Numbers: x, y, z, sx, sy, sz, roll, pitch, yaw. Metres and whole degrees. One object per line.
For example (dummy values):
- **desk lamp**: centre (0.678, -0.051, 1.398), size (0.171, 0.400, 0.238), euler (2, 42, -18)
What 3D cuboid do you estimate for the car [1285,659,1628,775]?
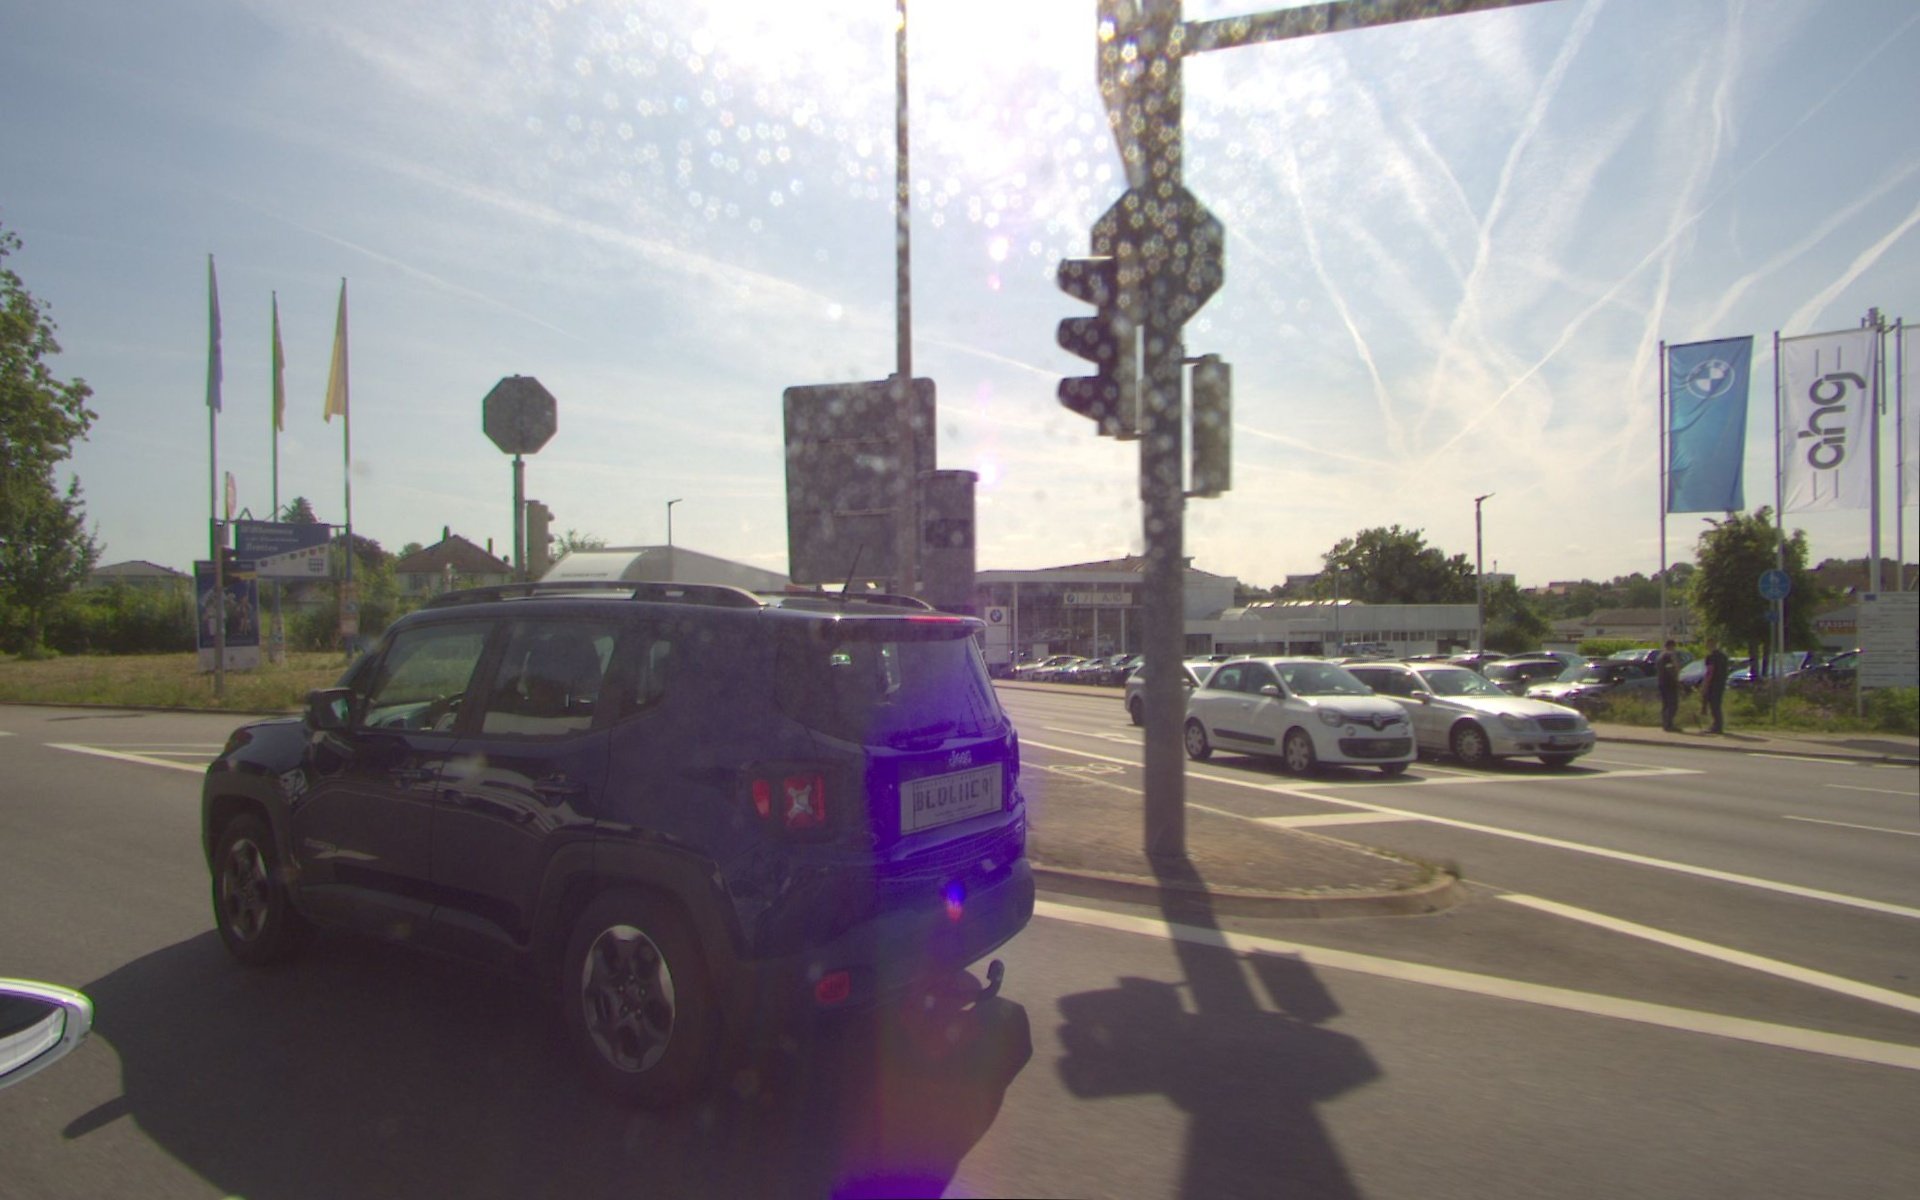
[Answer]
- **car**: centre (7.541, 1.709, 15.931), size (1.965, 1.523, 4.993), euler (1, -4, -18)

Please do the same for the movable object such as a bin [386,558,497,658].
- **movable object such as a bin**: centre (-18.623, 0.271, 36.365), size (2.853, 3.250, 6.685), euler (-1, 0, -22)

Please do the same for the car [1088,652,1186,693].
- **car**: centre (8.151, 3.306, 46.097), size (4.017, 1.639, 2.096), euler (-1, 0, -25)

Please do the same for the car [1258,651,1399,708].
- **car**: centre (12.704, 2.688, 34.516), size (4.406, 1.639, 1.993), euler (-1, 0, -23)

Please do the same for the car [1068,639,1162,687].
- **car**: centre (7.467, 3.016, 48.315), size (4.017, 2.062, 2.061), euler (-1, 0, -25)

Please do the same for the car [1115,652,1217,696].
- **car**: centre (8.985, 3.204, 43.742), size (3.936, 1.639, 2.084), euler (-1, 0, -25)

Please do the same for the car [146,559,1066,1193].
- **car**: centre (-1.696, 0.752, 4.438), size (3.942, 1.676, 1.767), euler (-1, 0, 32)

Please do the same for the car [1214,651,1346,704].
- **car**: centre (11.765, 2.800, 36.836), size (4.403, 1.639, 2.084), euler (-1, 0, -25)

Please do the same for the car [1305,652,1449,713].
- **car**: centre (13.269, 2.576, 31.902), size (3.932, 1.639, 1.994), euler (-1, 0, -21)

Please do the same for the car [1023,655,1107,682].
- **car**: centre (5.575, 3.607, 53.187), size (3.935, 1.205, 1.993), euler (-1, 0, -24)

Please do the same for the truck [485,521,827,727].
- **truck**: centre (-6.181, 0.879, 22.852), size (2.716, 3.670, 9.707), euler (0, -5, 14)

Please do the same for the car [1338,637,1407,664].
- **car**: centre (28.569, 3.492, 69.400), size (4.117, 1.639, 2.004), euler (-1, 0, -19)

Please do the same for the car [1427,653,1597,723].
- **car**: centre (14.983, 2.324, 27.225), size (3.932, 1.595, 1.994), euler (-1, 0, -21)

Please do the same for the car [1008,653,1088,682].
- **car**: centre (4.861, 3.707, 55.439), size (3.933, 1.390, 1.994), euler (-1, 0, -21)

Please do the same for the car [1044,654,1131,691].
- **car**: centre (6.477, 3.657, 50.936), size (3.937, 1.572, 1.992), euler (-1, 0, -26)

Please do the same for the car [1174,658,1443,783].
- **car**: centre (4.765, 1.595, 14.279), size (1.682, 1.522, 3.750), euler (1, -4, -19)

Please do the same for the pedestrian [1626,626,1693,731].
- **pedestrian**: centre (13.890, 1.535, 19.903), size (0.653, 2.040, 0.876), euler (0, -1, -21)

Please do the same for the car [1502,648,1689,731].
- **car**: centre (15.825, 2.164, 24.956), size (3.932, 1.746, 1.994), euler (-1, 0, -21)

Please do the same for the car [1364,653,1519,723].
- **car**: centre (14.172, 2.526, 29.518), size (3.932, 1.751, 1.994), euler (-1, 0, -21)

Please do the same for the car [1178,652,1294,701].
- **car**: centre (10.756, 2.942, 39.095), size (3.971, 1.639, 2.084), euler (-1, 0, -25)

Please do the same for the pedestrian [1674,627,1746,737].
- **pedestrian**: centre (14.224, 1.528, 19.010), size (0.653, 2.040, 0.876), euler (0, -1, -21)
